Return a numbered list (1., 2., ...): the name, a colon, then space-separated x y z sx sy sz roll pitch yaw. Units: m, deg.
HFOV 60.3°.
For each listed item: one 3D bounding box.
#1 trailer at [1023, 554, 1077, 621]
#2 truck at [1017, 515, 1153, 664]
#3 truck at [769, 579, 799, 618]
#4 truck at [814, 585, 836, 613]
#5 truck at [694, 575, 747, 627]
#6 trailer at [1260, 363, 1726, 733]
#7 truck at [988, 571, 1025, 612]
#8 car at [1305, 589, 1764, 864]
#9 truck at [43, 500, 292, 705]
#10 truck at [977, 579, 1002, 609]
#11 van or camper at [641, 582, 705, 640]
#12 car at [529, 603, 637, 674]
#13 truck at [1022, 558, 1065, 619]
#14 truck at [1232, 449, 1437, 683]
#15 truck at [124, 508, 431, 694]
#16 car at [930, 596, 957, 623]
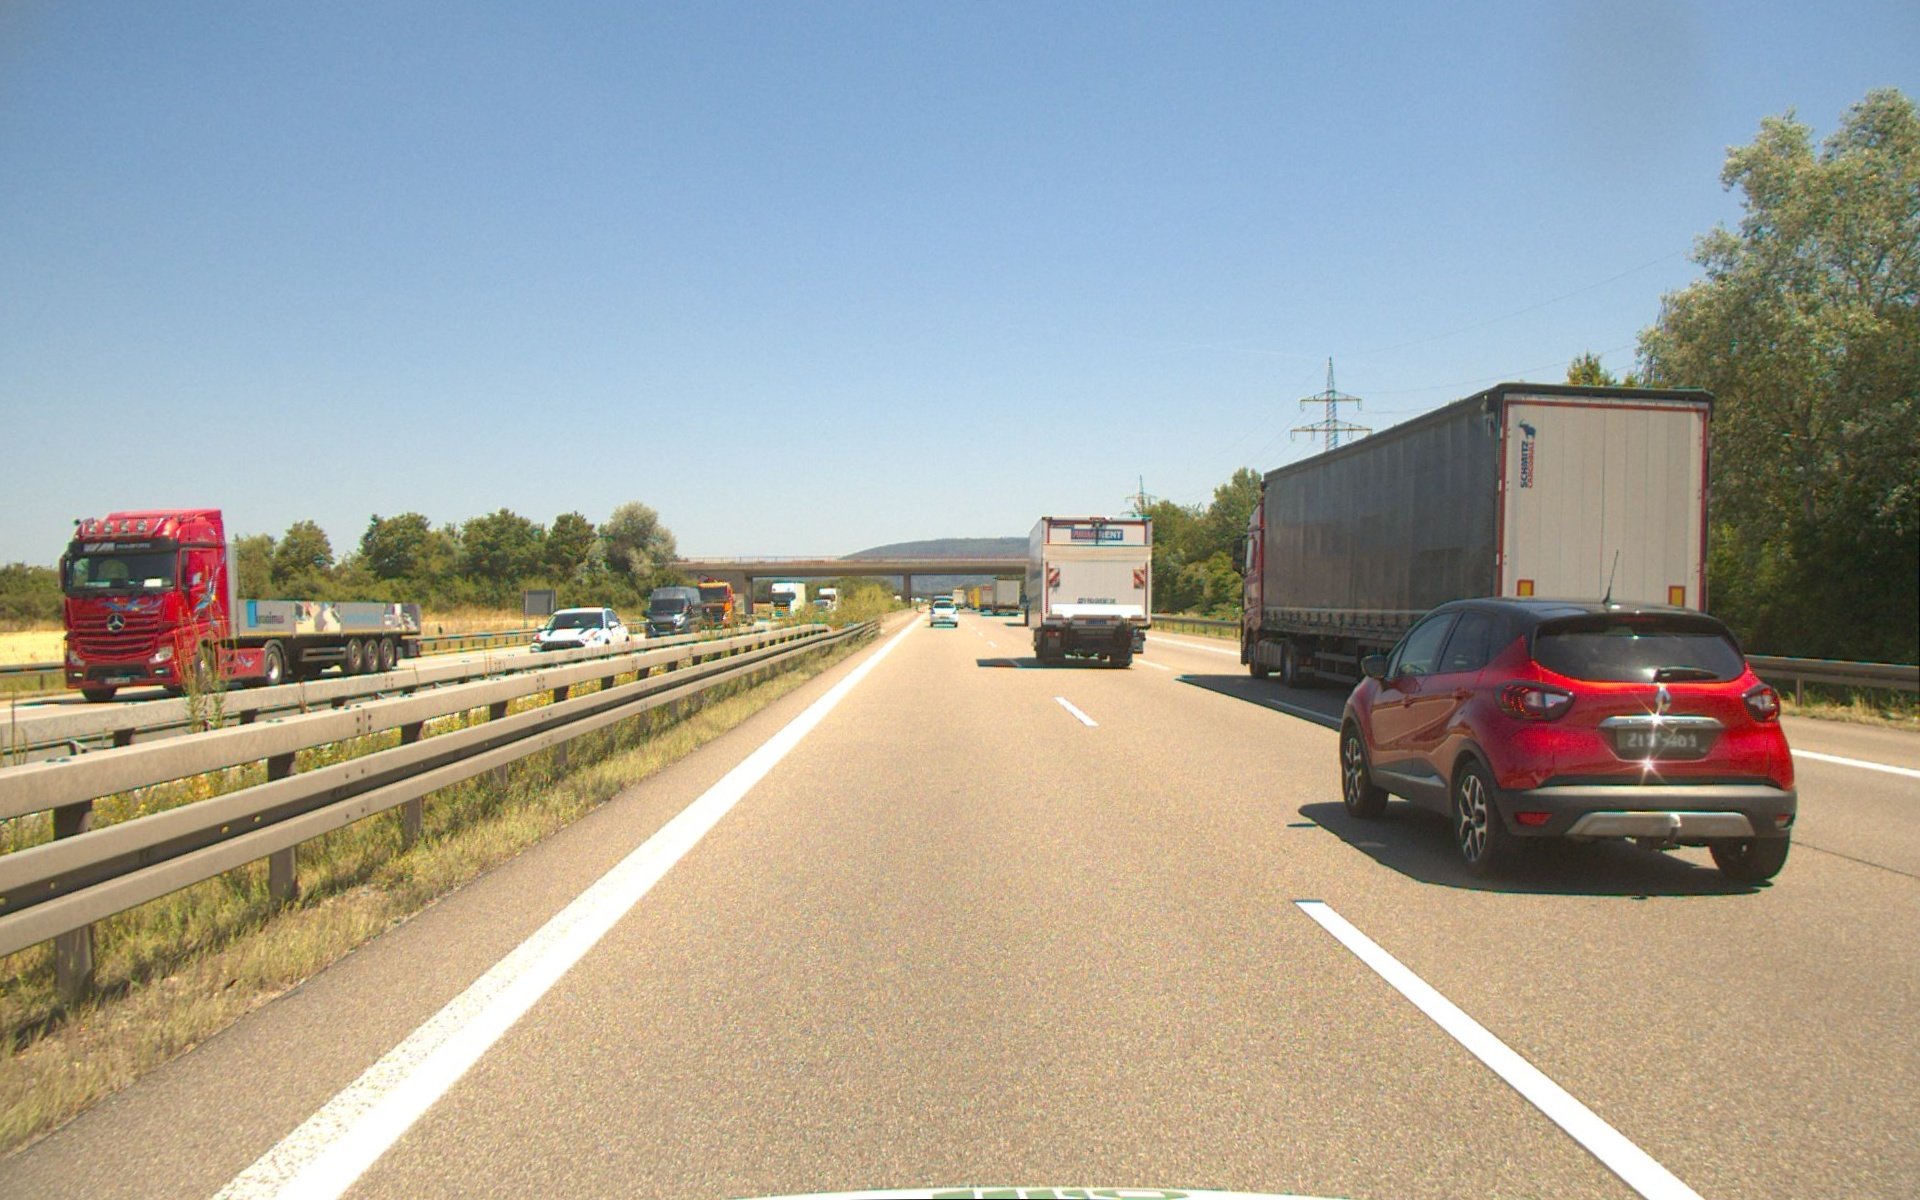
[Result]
1. trailer: 5.914 -0.786 110.838 2.738 4.236 13.954 0 0 0
2. truck: 3.050 -0.239 42.539 2.726 3.432 8.125 1 0 -1
3. truck: -19.046 -0.129 178.927 2.626 4.085 5.754 -2 0 -1
4. truck: -20.262 -0.143 248.386 2.777 4.007 5.823 -2 0 -1
5. truck: -18.353 0.056 127.201 2.598 3.725 10.187 -2 0 -1
6. trailer: 7.349 -0.604 25.763 2.732 4.236 13.571 0 0 -1
7. truck: 5.225 -0.941 188.507 3.449 4.493 14.588 -1 0 -1
8. car: 3.716 0.724 11.490 1.766 1.572 3.999 0 0 -1
9. truck: -17.409 0.035 36.787 2.705 4.084 5.749 -2 0 -1
10. truck: 4.548 -0.850 260.187 3.449 4.493 14.588 -1 0 -1
11. van or camper: -13.974 0.518 80.851 2.127 2.633 5.871 -3 0 -2
12. car: -9.345 0.914 41.324 1.767 1.596 4.094 -2 0 -1
13. truck: 5.878 -0.798 117.820 2.738 4.237 5.722 0 0 0
14. truck: 7.254 -0.617 32.799 2.738 4.237 5.722 0 0 0
15. truck: -17.574 0.008 44.117 2.705 4.084 13.519 -2 0 -1
16. car: -0.979 0.555 98.826 1.574 1.493 4.000 -1 0 0
